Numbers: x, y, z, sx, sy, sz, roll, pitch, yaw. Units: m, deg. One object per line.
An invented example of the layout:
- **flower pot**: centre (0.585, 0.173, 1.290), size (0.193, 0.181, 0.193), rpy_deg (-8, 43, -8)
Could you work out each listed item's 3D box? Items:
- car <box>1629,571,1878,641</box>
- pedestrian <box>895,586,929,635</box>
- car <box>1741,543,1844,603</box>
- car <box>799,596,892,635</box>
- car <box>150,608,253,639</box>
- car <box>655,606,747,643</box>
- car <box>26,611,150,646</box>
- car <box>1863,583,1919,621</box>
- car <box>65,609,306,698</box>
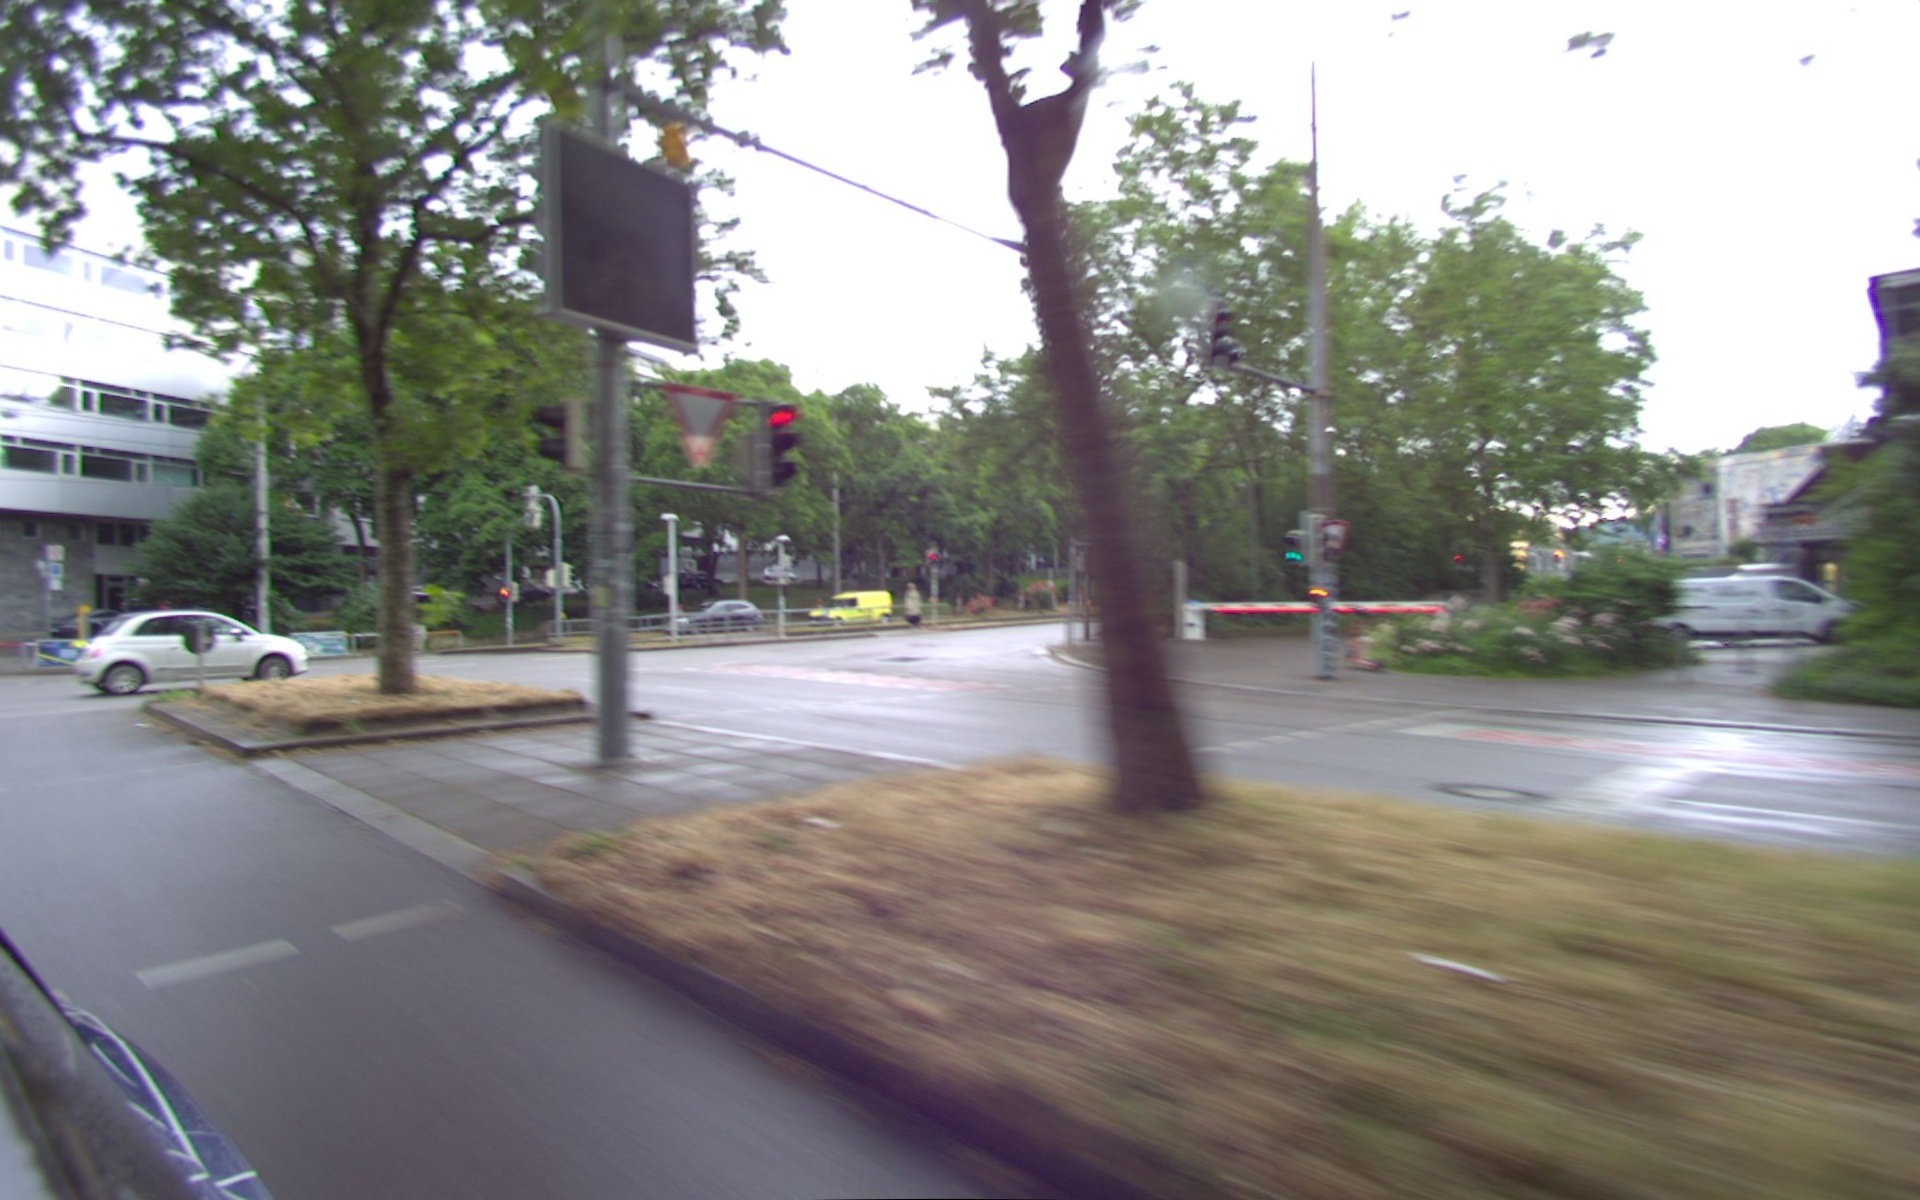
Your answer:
- **car**: centre (21.935, 0.192, 28.308), size (5.195, 1.744, 1.856), rpy_deg (-2, 0, 30)
- **pedestrian**: centre (-1.819, 0.384, 38.304), size (0.870, 1.816, 0.858), rpy_deg (-2, 0, 35)
- **car**: centre (41.608, -1.354, 50.495), size (6.814, 2.715, 2.745), rpy_deg (-2, 0, -40)
- **car**: centre (-5.871, 0.777, 52.197), size (4.498, 1.865, 1.927), rpy_deg (-1, -2, -44)
- **car**: centre (-39.541, 1.193, 52.883), size (1.862, 1.441, 3.980), rpy_deg (-2, 0, 16)
- **car**: centre (-11.912, 1.125, 46.632), size (3.626, 1.557, 1.927), rpy_deg (-1, -2, -44)
- **car**: centre (-41.025, 1.325, 47.723), size (1.862, 1.441, 4.072), rpy_deg (-2, 0, 16)
- **car**: centre (42.169, 0.063, 45.674), size (2.025, 1.562, 4.290), rpy_deg (-2, 0, 41)
- **car**: centre (-14.590, 0.984, 19.172), size (1.656, 1.445, 3.391), rpy_deg (-5, -3, 43)
